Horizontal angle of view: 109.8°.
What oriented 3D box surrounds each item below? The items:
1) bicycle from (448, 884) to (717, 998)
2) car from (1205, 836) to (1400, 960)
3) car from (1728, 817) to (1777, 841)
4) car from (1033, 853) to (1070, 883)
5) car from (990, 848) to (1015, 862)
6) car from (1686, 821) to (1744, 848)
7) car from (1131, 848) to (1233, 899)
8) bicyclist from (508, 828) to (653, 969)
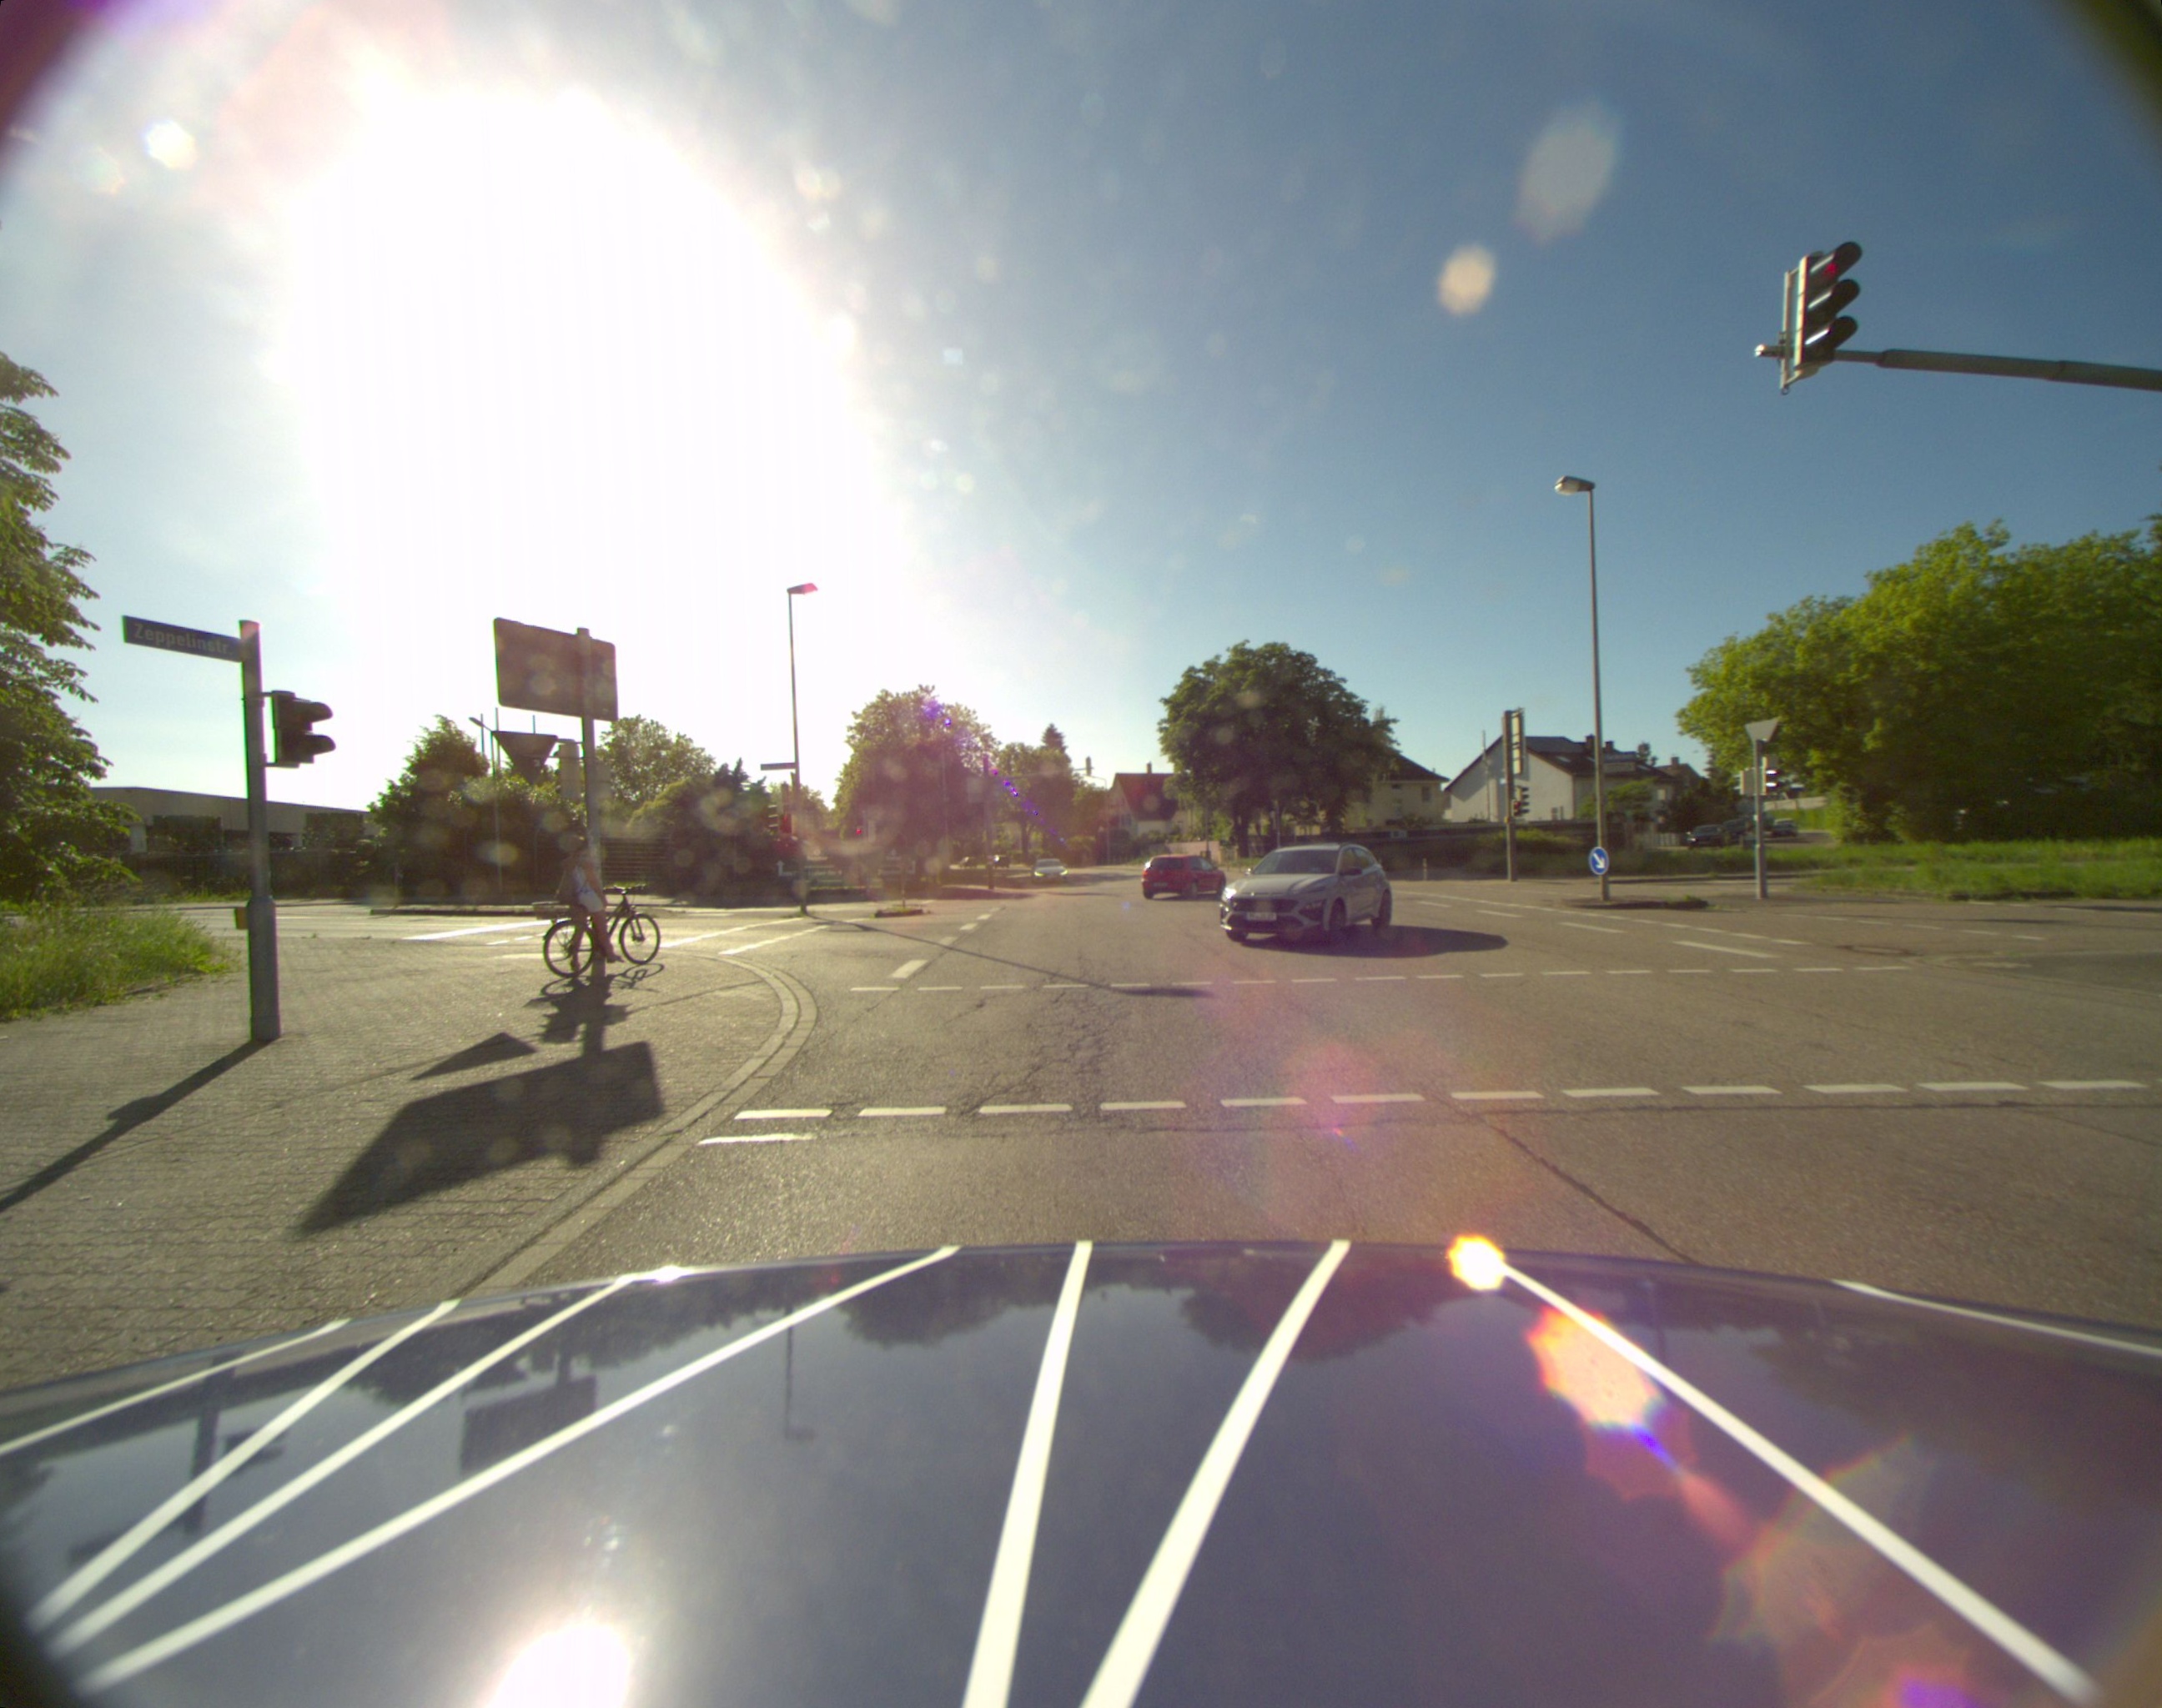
[{"bbox_3d":[-6.283,1.037,9.913,0.901,1.119,2.957,-3,0,19],"label":"bicycle"},{"bbox_3d":[3.918,0.635,12.957,1.711,1.636,4.062,-3,1,38],"label":"car"},{"bbox_3d":[50.016,-1.870,56.558,4.007,1.656,1.958,-3,1,-37],"label":"car"},{"bbox_3d":[-1.766,0.770,44.012,1.810,1.523,4.512,-2,1,-5],"label":"car"},{"bbox_3d":[-10.089,0.126,97.376,1.864,1.625,4.249,-2,0,-23],"label":"car"},{"bbox_3d":[41.399,-1.279,49.583,4.007,1.547,1.995,-3,0,-37],"label":"car"},{"bbox_3d":[3.480,0.579,25.509,1.858,1.461,4.146,0,2,31],"label":"car"},{"bbox_3d":[-6.368,0.543,9.731,0.890,1.683,1.192,-3,0,19],"label":"bicyclist"}]
